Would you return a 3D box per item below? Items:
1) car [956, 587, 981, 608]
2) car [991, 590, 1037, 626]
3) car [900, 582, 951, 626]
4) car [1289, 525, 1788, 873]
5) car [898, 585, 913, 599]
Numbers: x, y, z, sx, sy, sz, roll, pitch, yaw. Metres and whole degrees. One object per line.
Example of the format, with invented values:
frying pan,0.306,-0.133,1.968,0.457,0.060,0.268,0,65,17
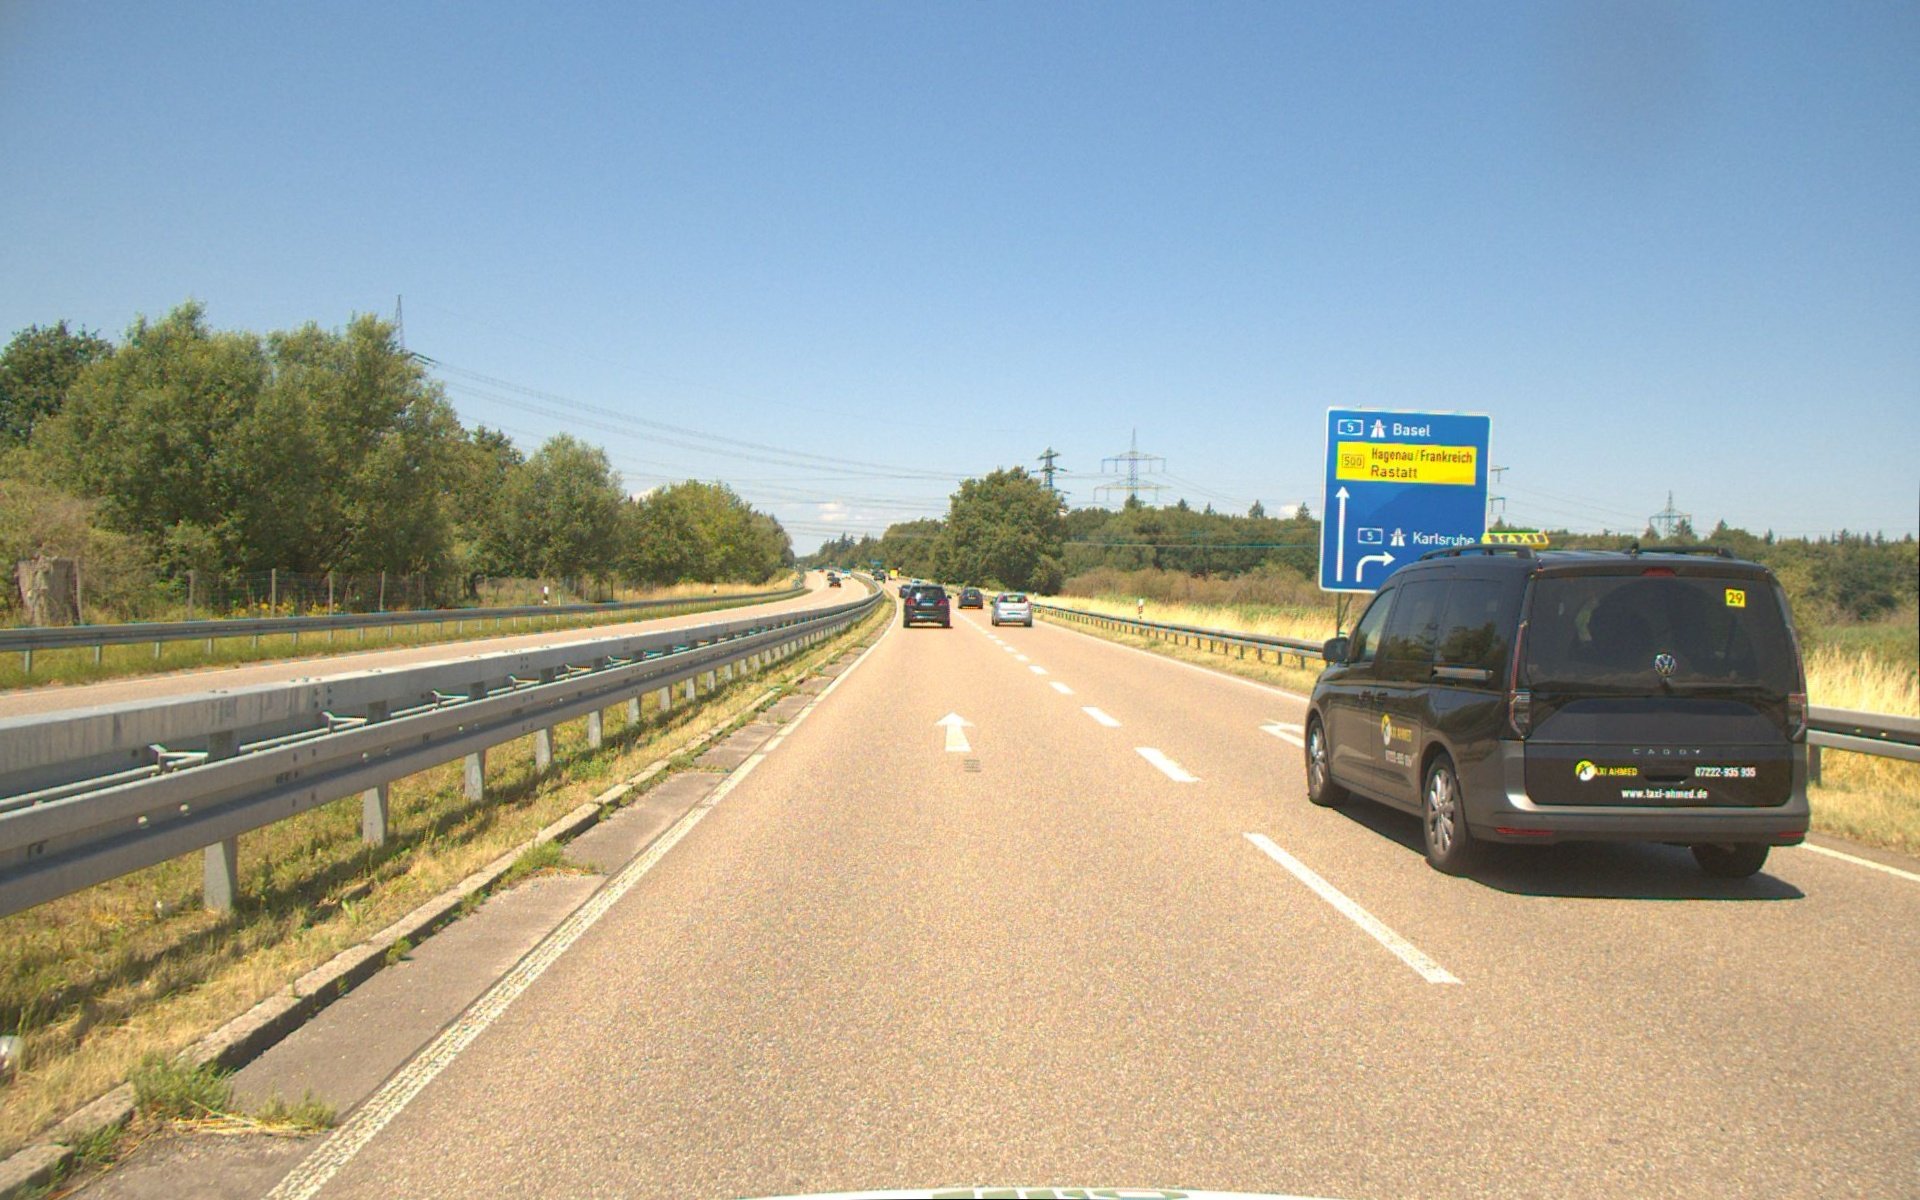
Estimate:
car,0.595,-0.175,121.258,1.782,1.439,4.000,2,0,0
car,2.361,0.331,73.296,1.743,1.505,4.314,2,0,-1
car,-1.409,0.159,67.941,1.953,1.683,3.999,2,0,-1
car,3.554,0.521,11.053,1.744,1.848,4.212,1,0,-1
car,-6.164,-0.904,186.522,1.485,1.501,3.064,2,0,-4
